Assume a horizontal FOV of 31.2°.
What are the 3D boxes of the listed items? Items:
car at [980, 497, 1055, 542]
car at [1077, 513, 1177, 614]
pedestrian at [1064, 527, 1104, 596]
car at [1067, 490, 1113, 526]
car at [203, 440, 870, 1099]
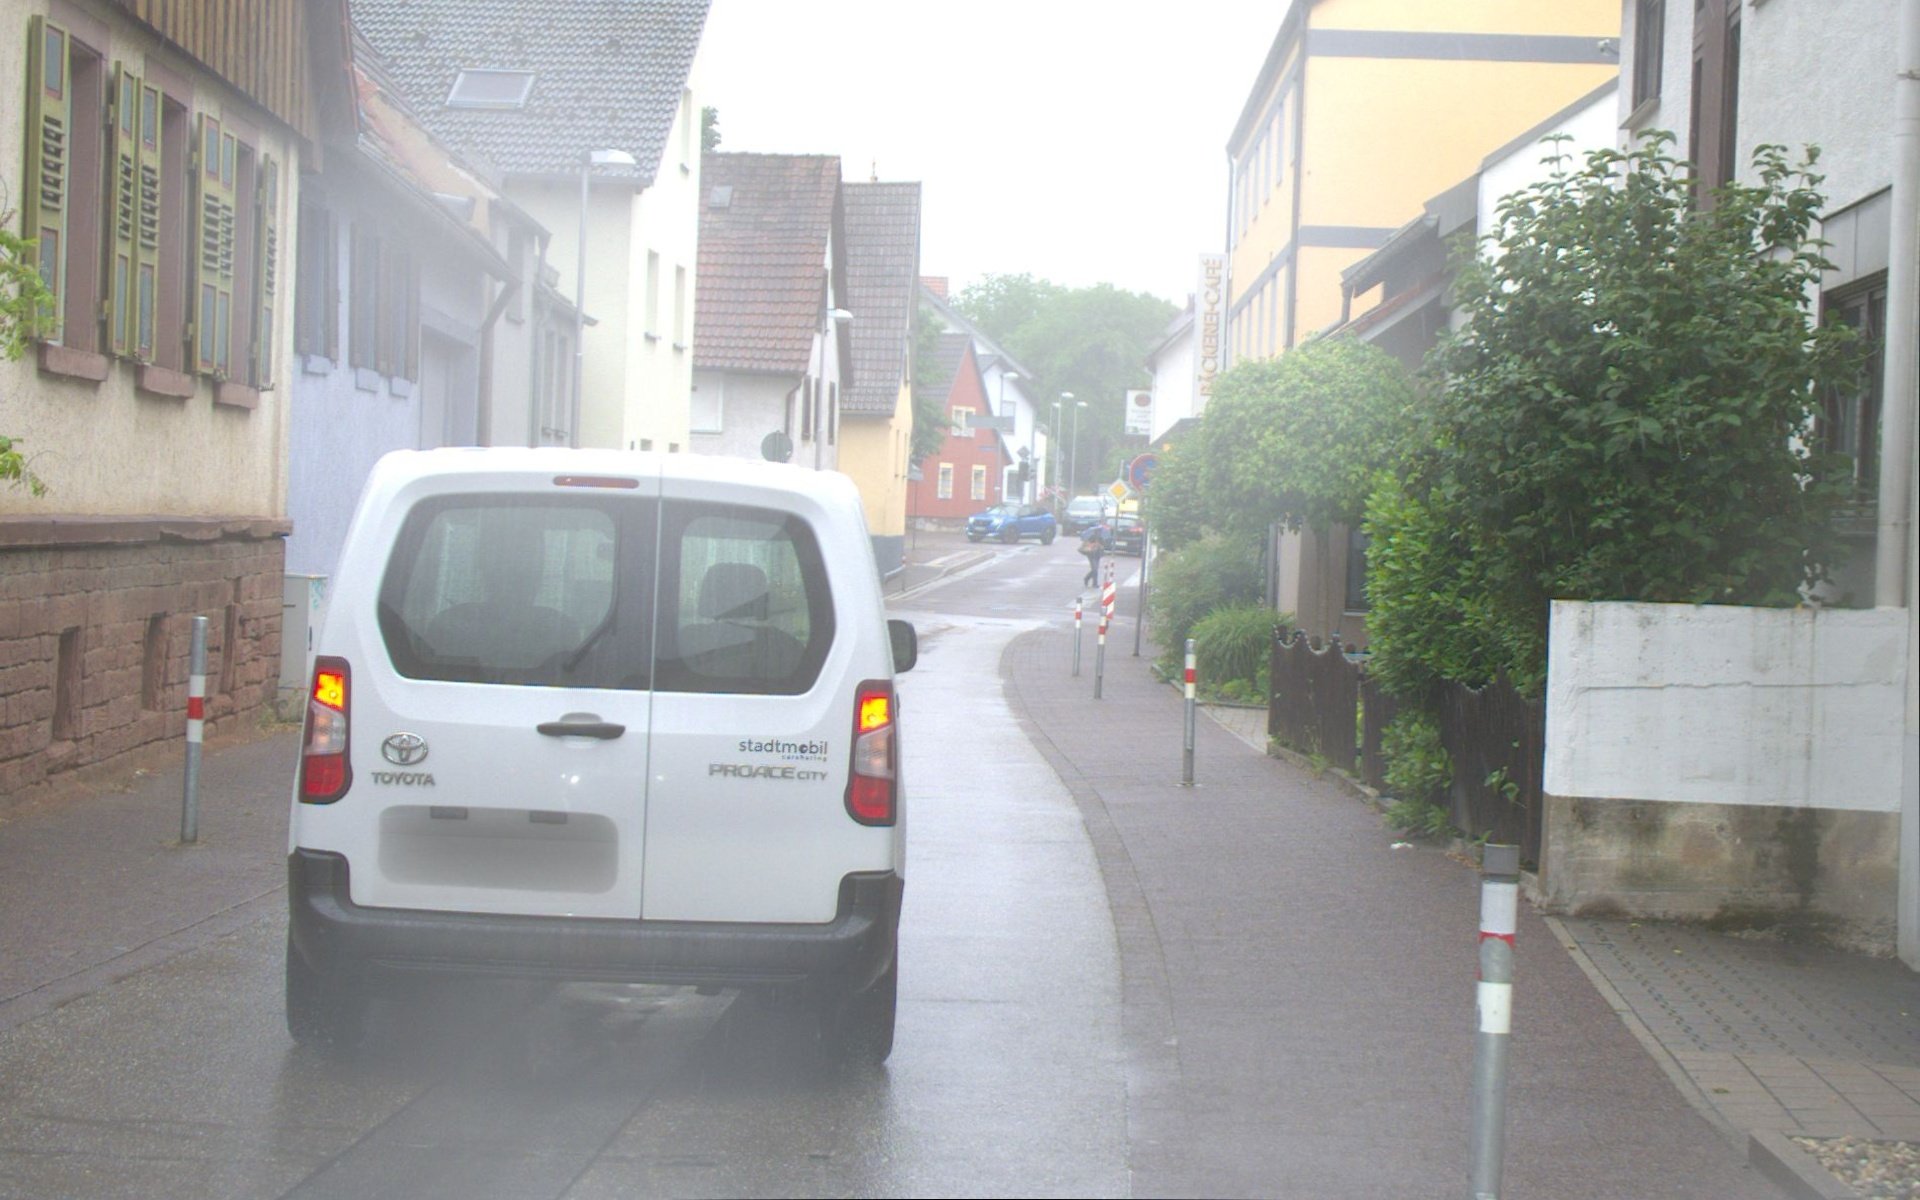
[{"bbox_3d":[2.200,-3.047,129.939,1.995,1.554,3.429,0,3,16],"label":"car"},{"bbox_3d":[3.506,-0.772,71.779,1.994,2.007,4.000,1,1,4],"label":"car"},{"bbox_3d":[3.426,-1.062,95.137,1.050,1.886,0.877,1,1,1],"label":"pedestrian"},{"bbox_3d":[5.751,-4.067,151.751,1.589,1.436,3.765,4,1,8],"label":"car"},{"bbox_3d":[-1.358,0.439,11.377,1.774,1.774,4.001,1,1,-6],"label":"car"}]
